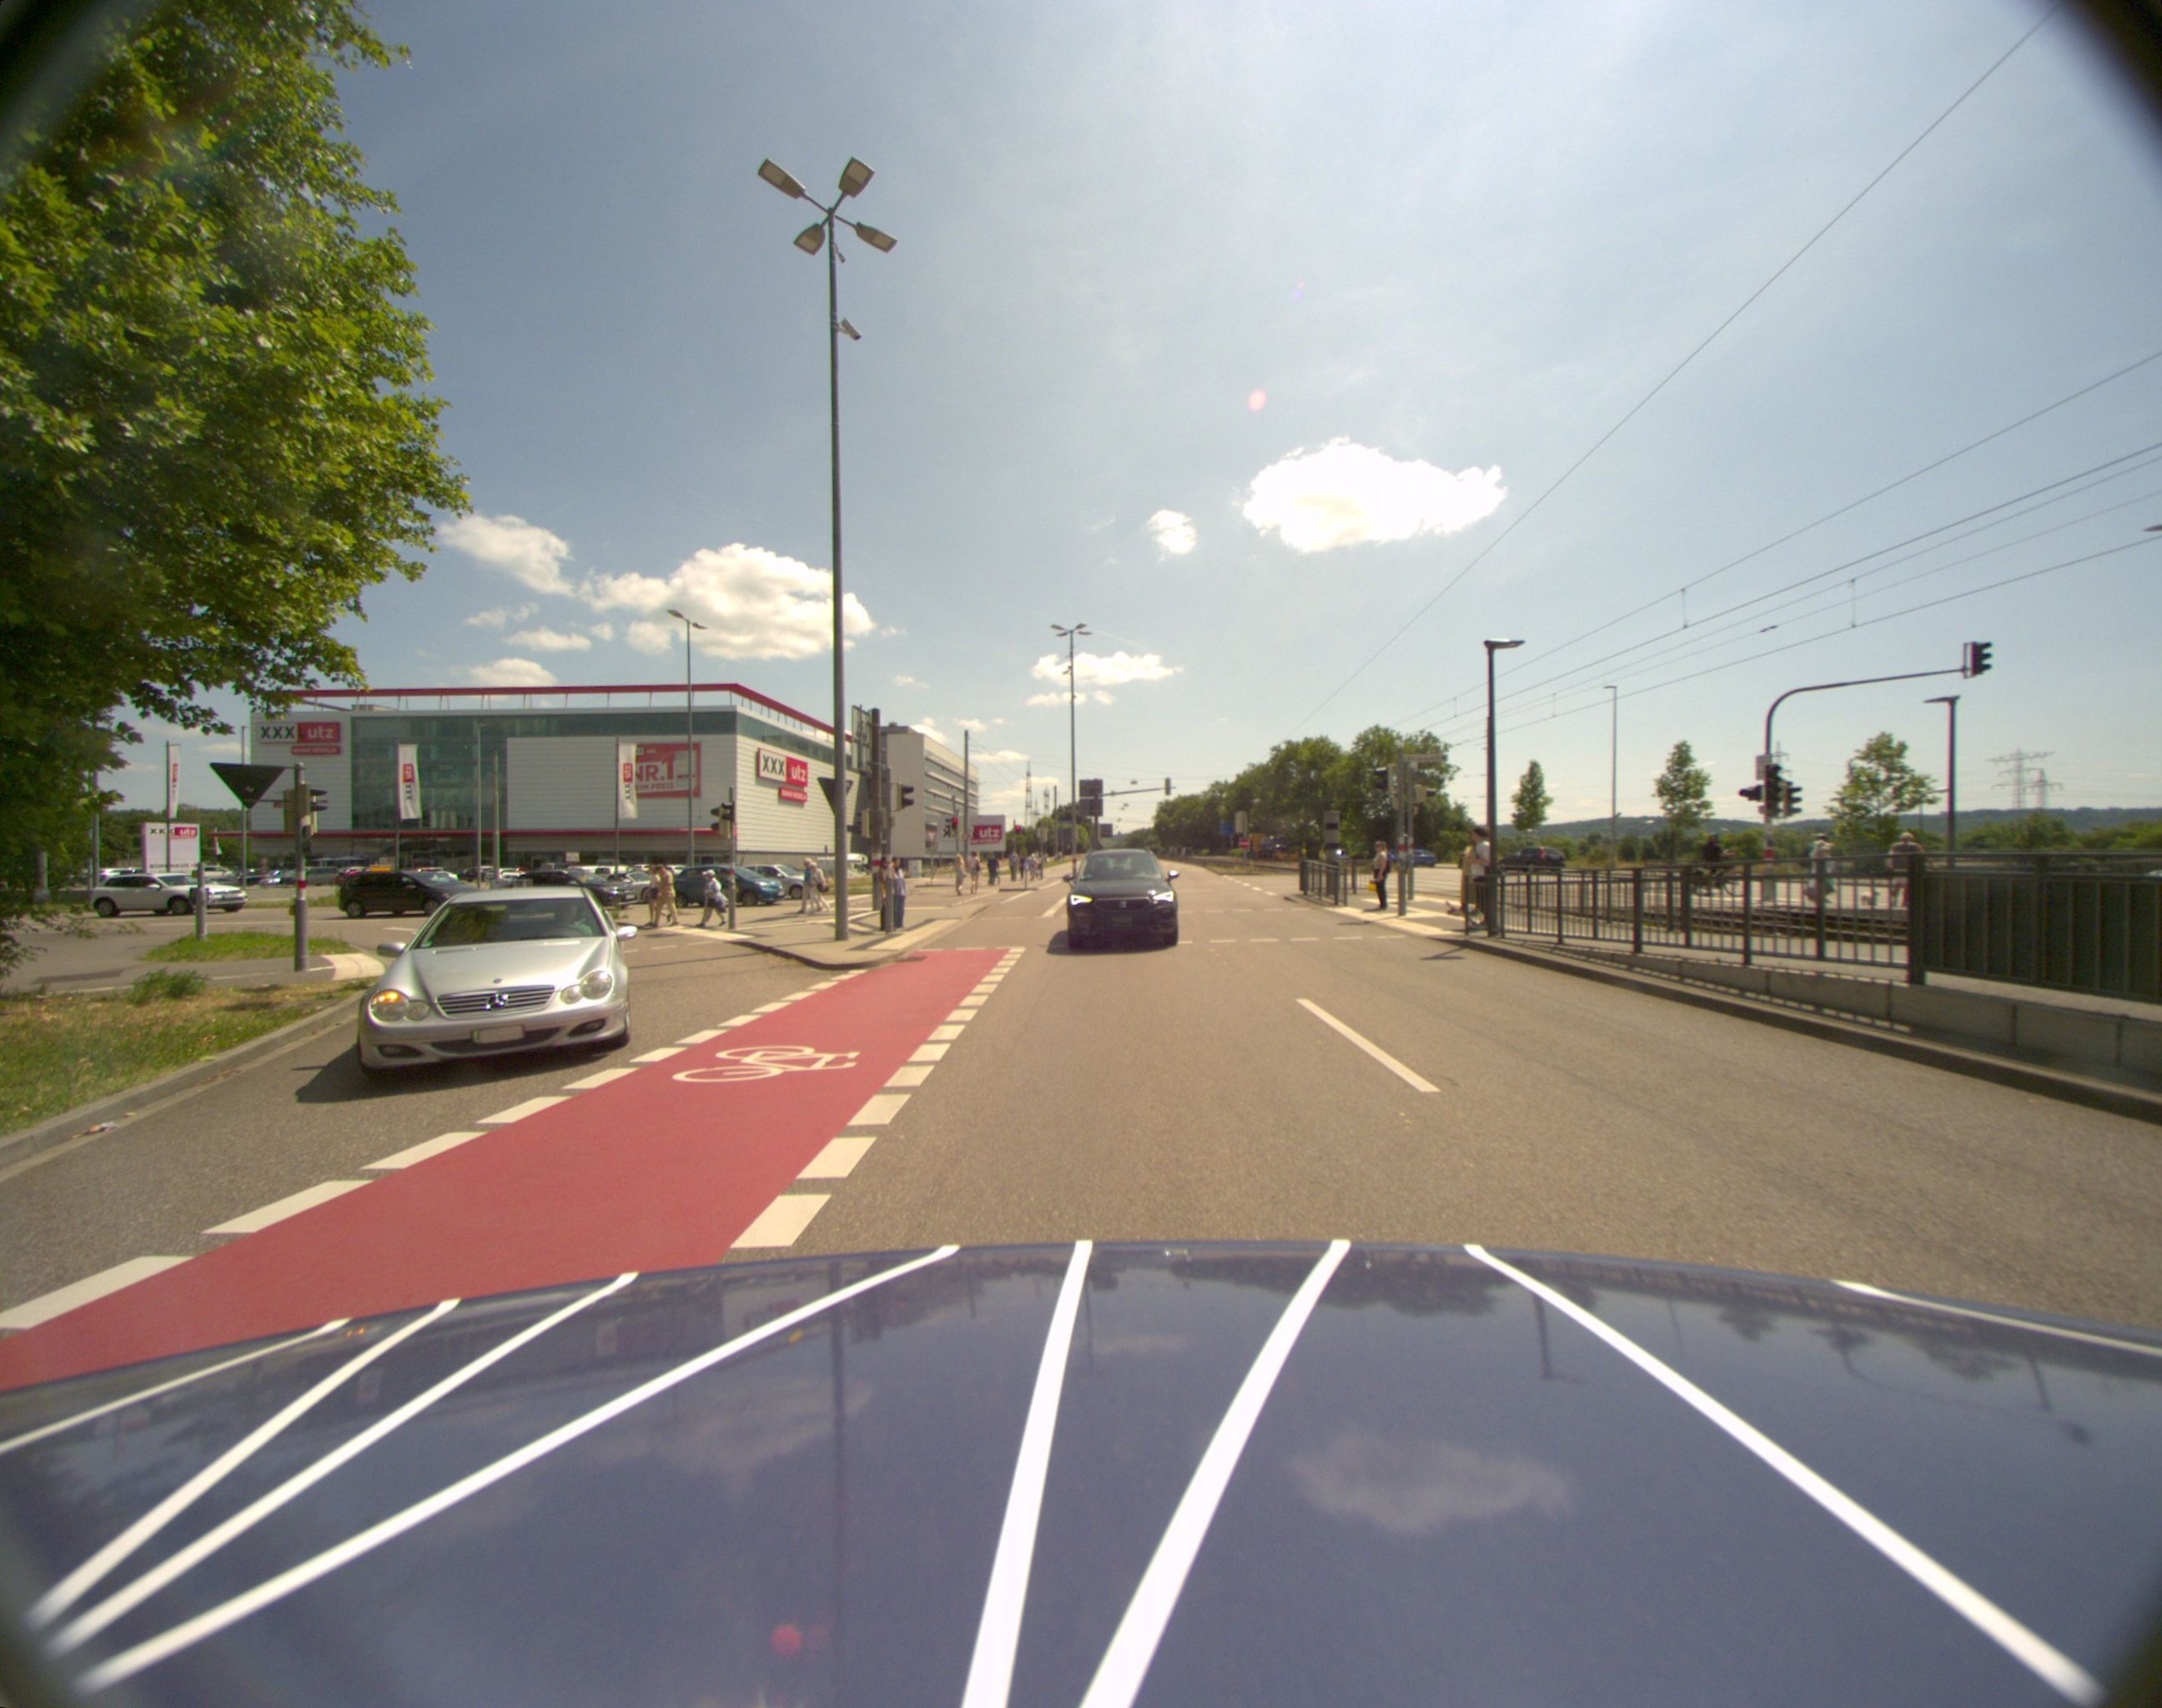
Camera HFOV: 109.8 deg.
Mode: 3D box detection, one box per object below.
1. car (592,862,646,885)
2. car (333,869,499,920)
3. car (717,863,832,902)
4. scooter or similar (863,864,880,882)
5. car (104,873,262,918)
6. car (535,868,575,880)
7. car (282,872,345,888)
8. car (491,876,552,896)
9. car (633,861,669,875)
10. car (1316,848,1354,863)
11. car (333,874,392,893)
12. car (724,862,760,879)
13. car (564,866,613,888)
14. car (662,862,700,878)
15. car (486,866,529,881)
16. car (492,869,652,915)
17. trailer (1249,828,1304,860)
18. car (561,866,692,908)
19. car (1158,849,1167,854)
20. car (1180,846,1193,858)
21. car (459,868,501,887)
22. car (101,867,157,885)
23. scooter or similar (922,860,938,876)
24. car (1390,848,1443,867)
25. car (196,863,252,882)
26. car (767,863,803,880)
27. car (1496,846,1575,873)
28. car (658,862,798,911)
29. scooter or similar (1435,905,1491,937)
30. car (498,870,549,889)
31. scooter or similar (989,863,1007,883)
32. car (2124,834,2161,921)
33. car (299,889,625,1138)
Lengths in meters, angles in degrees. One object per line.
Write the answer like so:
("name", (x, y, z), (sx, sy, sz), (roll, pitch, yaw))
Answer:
("car", (-46.595, 1.951, 76.734), (1.998, 2.002, 4.966), (-2, 1, 4))
("car", (-23.713, 1.411, 27.191), (4.410, 1.575, 1.863), (-2, 1, 5))
("car", (-12.163, 1.109, 30.332), (3.833, 1.389, 1.803), (-1, 0, 0))
("scooter or similar", (-15.367, 1.365, 55.808), (0.479, 1.283, 1.281), (-2, 1, 21))
("car", (-35.917, 1.635, 30.477), (4.078, 1.630, 2.000), (-1, 0, 3))
("car", (-60.437, 2.283, 87.387), (1.693, 1.302, 4.000), (-2, 0, 3))
("car", (-78.749, 2.646, 78.045), (1.858, 1.404, 4.257), (-1, 0, 6))
("car", (-45.049, 2.547, 61.300), (1.852, 1.368, 3.943), (-2, 0, 3))
("car", (-57.914, 1.914, 102.402), (1.998, 1.683, 4.520), (-2, 0, 2))
("car", (25.947, 0.165, 77.677), (2.000, 1.455, 4.276), (-1, 0, -7))
("car", (-73.821, 3.025, 78.165), (1.852, 1.692, 4.173), (-1, 0, 6))
("car", (-41.005, 1.924, 91.945), (1.998, 1.884, 4.520), (-2, 0, 4))
("car", (-49.263, 2.258, 76.078), (1.998, 2.002, 4.001), (-2, 1, 4))
("car", (-48.528, 1.958, 92.268), (1.998, 1.724, 4.520), (-2, 0, 4))
("car", (-65.948, 2.249, 87.444), (1.693, 1.518, 4.000), (-2, 0, 3))
("car", (-17.941, 1.329, 26.930), (4.411, 1.435, 1.853), (-1, 2, 1))
("trailer", (25.692, -1.235, 100.759), (3.123, 3.848, 15.481), (-1, 0, 0))
("car", (-18.115, 1.314, 30.361), (4.227, 1.390, 1.804), (-2, 3, 9))
("car", (24.016, -0.737, 223.456), (1.999, 1.627, 4.264), (1, 0, -2))
("car", (21.807, -0.402, 157.305), (1.998, 1.825, 4.438), (3, -6, 1))
("car", (-68.916, 2.651, 87.203), (1.723, 2.002, 3.605), (-1, 0, 4))
("car", (-112.663, 2.531, 89.951), (1.654, 2.002, 3.772), (-1, 0, 4))
("scooter or similar", (-12.256, 1.123, 61.582), (0.479, 1.120, 1.281), (-1, 4, 31))
("car", (26.716, 0.254, 60.685), (1.999, 1.436, 4.347), (-1, 0, -6))
("car", (-102.272, 2.171, 90.725), (1.999, 2.002, 3.999), (-2, 1, -1))
("car", (-33.650, 1.987, 86.469), (1.998, 1.707, 4.503), (-2, 1, 4))
("car", (28.663, 0.333, 48.051), (2.000, 1.620, 4.305), (-1, 0, -9))
("car", (-12.522, 1.137, 27.144), (3.996, 1.547, 2.000), (-2, 1, 4))
("scooter or similar", (6.621, 1.160, 13.175), (0.728, 0.503, 0.457), (-1, 0, -2))
("car", (-52.380, 2.361, 71.449), (1.853, 1.537, 3.999), (-2, 0, -2))
("scooter or similar", (-4.385, 1.017, 40.129), (0.691, 1.025, 0.863), (-1, 1, 10))
("car", (21.151, 0.426, 12.705), (1.998, 1.619, 4.000), (-1, 0, 3))
("car", (-5.451, 1.158, 7.300), (1.735, 1.410, 4.311), (-3, 1, -31))
